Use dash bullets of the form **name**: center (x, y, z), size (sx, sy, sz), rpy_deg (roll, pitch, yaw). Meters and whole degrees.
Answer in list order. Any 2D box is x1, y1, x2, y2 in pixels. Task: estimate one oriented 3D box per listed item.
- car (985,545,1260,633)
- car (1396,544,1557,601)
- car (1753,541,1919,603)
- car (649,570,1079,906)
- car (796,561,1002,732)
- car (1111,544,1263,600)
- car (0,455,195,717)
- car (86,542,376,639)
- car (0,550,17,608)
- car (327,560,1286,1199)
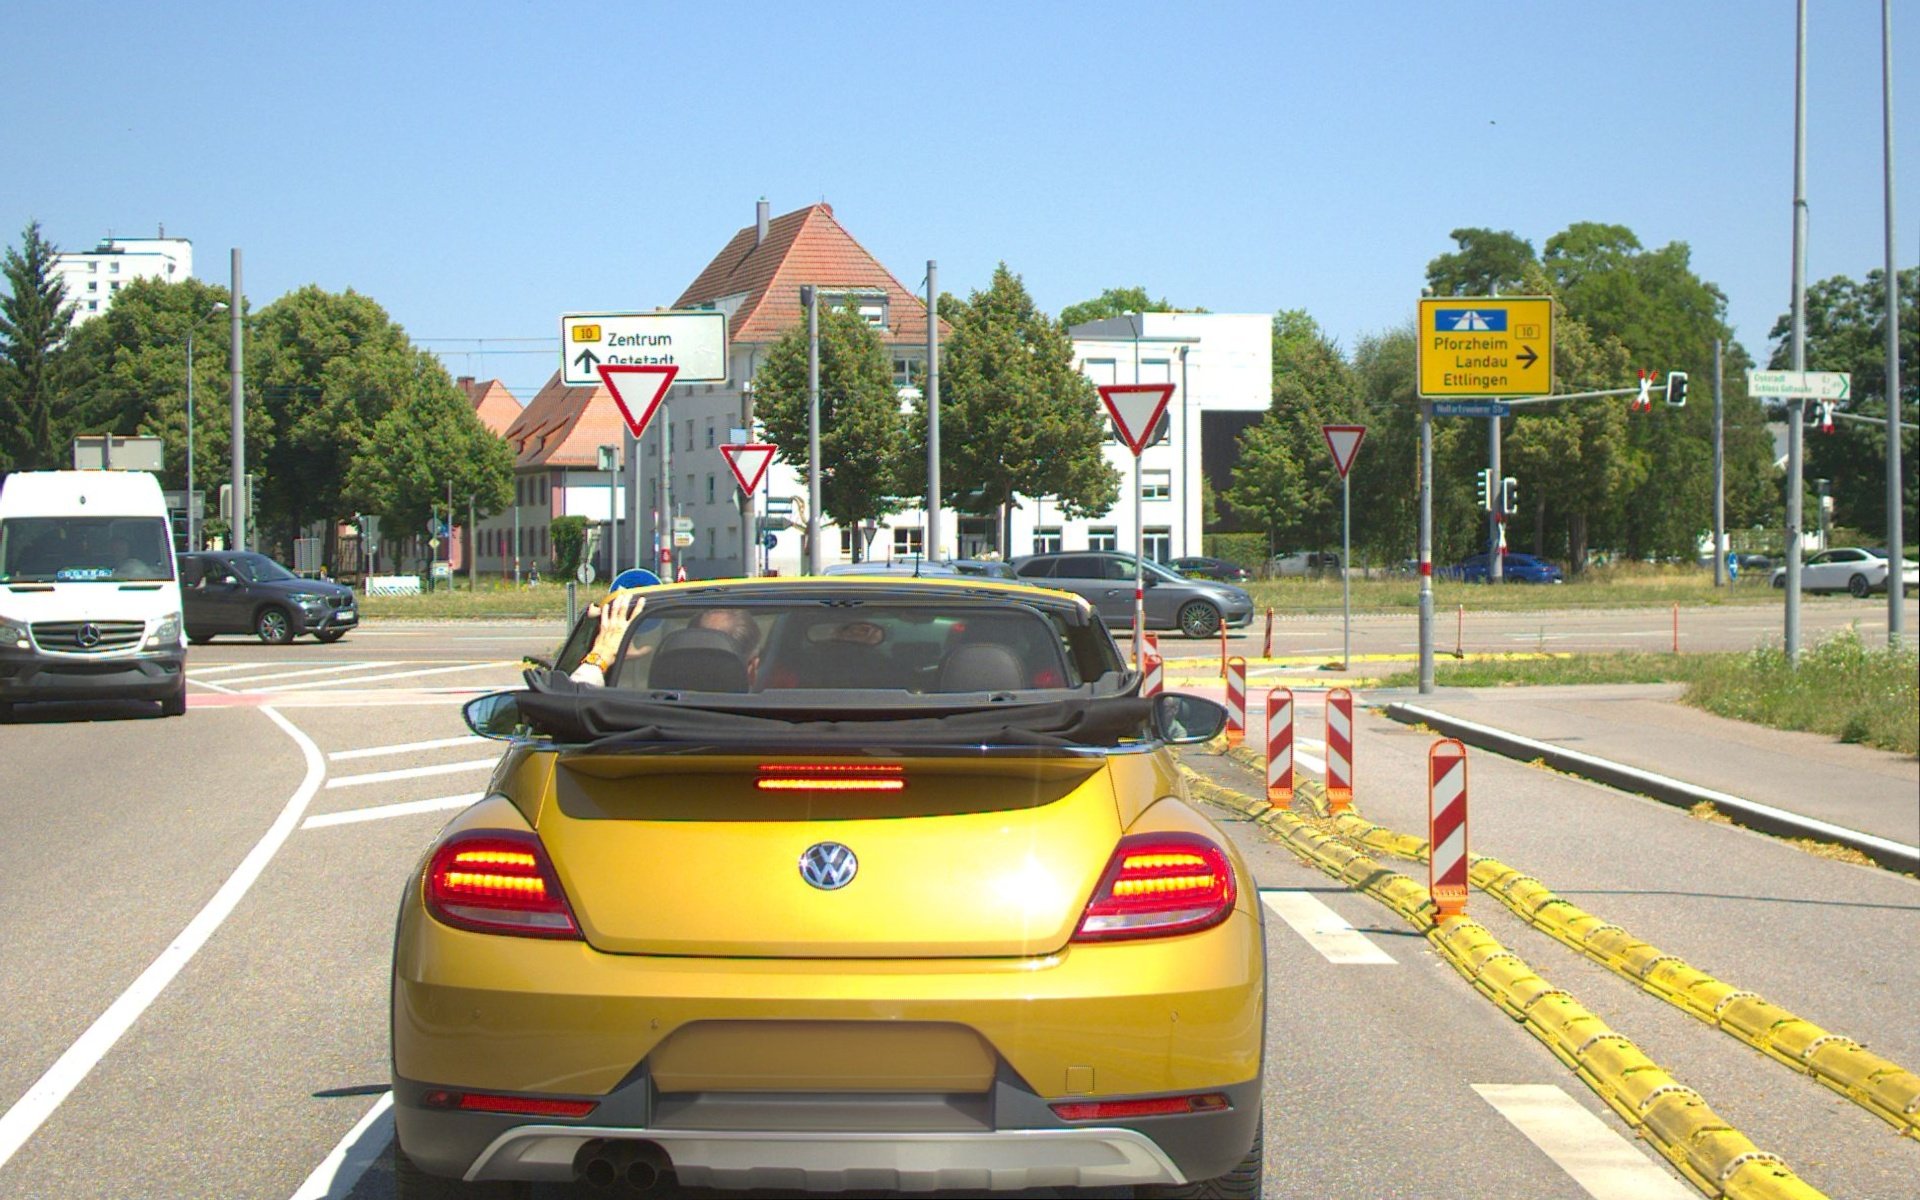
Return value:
- **car**: center (2.692, -0.187, 56.576), size (4.196, 1.386, 1.900), rpy_deg (1, 1, 15)
- **car**: center (16.942, -0.907, 112.728), size (4.920, 1.780, 2.025), rpy_deg (-1, 1, 17)
- **car**: center (26.552, -0.828, 103.738), size (2.020, 1.780, 5.180), rpy_deg (-2, 1, -32)
- **car**: center (-0.433, 0.579, 16.873), size (1.848, 1.437, 4.000), rpy_deg (0, 1, -1)
- **car**: center (-0.534, 0.372, 31.132), size (1.736, 1.437, 4.000), rpy_deg (0, 1, -1)
- **car**: center (7.707, -0.962, 116.536), size (4.918, 1.780, 2.026), rpy_deg (-1, 1, 10)
- **car**: center (-9.637, -0.168, 37.032), size (2.019, 2.530, 6.830), rpy_deg (-1, 1, -18)
- **car**: center (-12.491, -0.179, 59.009), size (4.434, 1.590, 1.999), rpy_deg (1, 1, 10)
- **car**: center (-31.697, -0.594, 105.626), size (2.024, 1.780, 4.889), rpy_deg (-1, 1, 41)
- **car**: center (-0.309, 0.623, 8.200), size (1.752, 1.417, 3.778), rpy_deg (0, 1, -1)
